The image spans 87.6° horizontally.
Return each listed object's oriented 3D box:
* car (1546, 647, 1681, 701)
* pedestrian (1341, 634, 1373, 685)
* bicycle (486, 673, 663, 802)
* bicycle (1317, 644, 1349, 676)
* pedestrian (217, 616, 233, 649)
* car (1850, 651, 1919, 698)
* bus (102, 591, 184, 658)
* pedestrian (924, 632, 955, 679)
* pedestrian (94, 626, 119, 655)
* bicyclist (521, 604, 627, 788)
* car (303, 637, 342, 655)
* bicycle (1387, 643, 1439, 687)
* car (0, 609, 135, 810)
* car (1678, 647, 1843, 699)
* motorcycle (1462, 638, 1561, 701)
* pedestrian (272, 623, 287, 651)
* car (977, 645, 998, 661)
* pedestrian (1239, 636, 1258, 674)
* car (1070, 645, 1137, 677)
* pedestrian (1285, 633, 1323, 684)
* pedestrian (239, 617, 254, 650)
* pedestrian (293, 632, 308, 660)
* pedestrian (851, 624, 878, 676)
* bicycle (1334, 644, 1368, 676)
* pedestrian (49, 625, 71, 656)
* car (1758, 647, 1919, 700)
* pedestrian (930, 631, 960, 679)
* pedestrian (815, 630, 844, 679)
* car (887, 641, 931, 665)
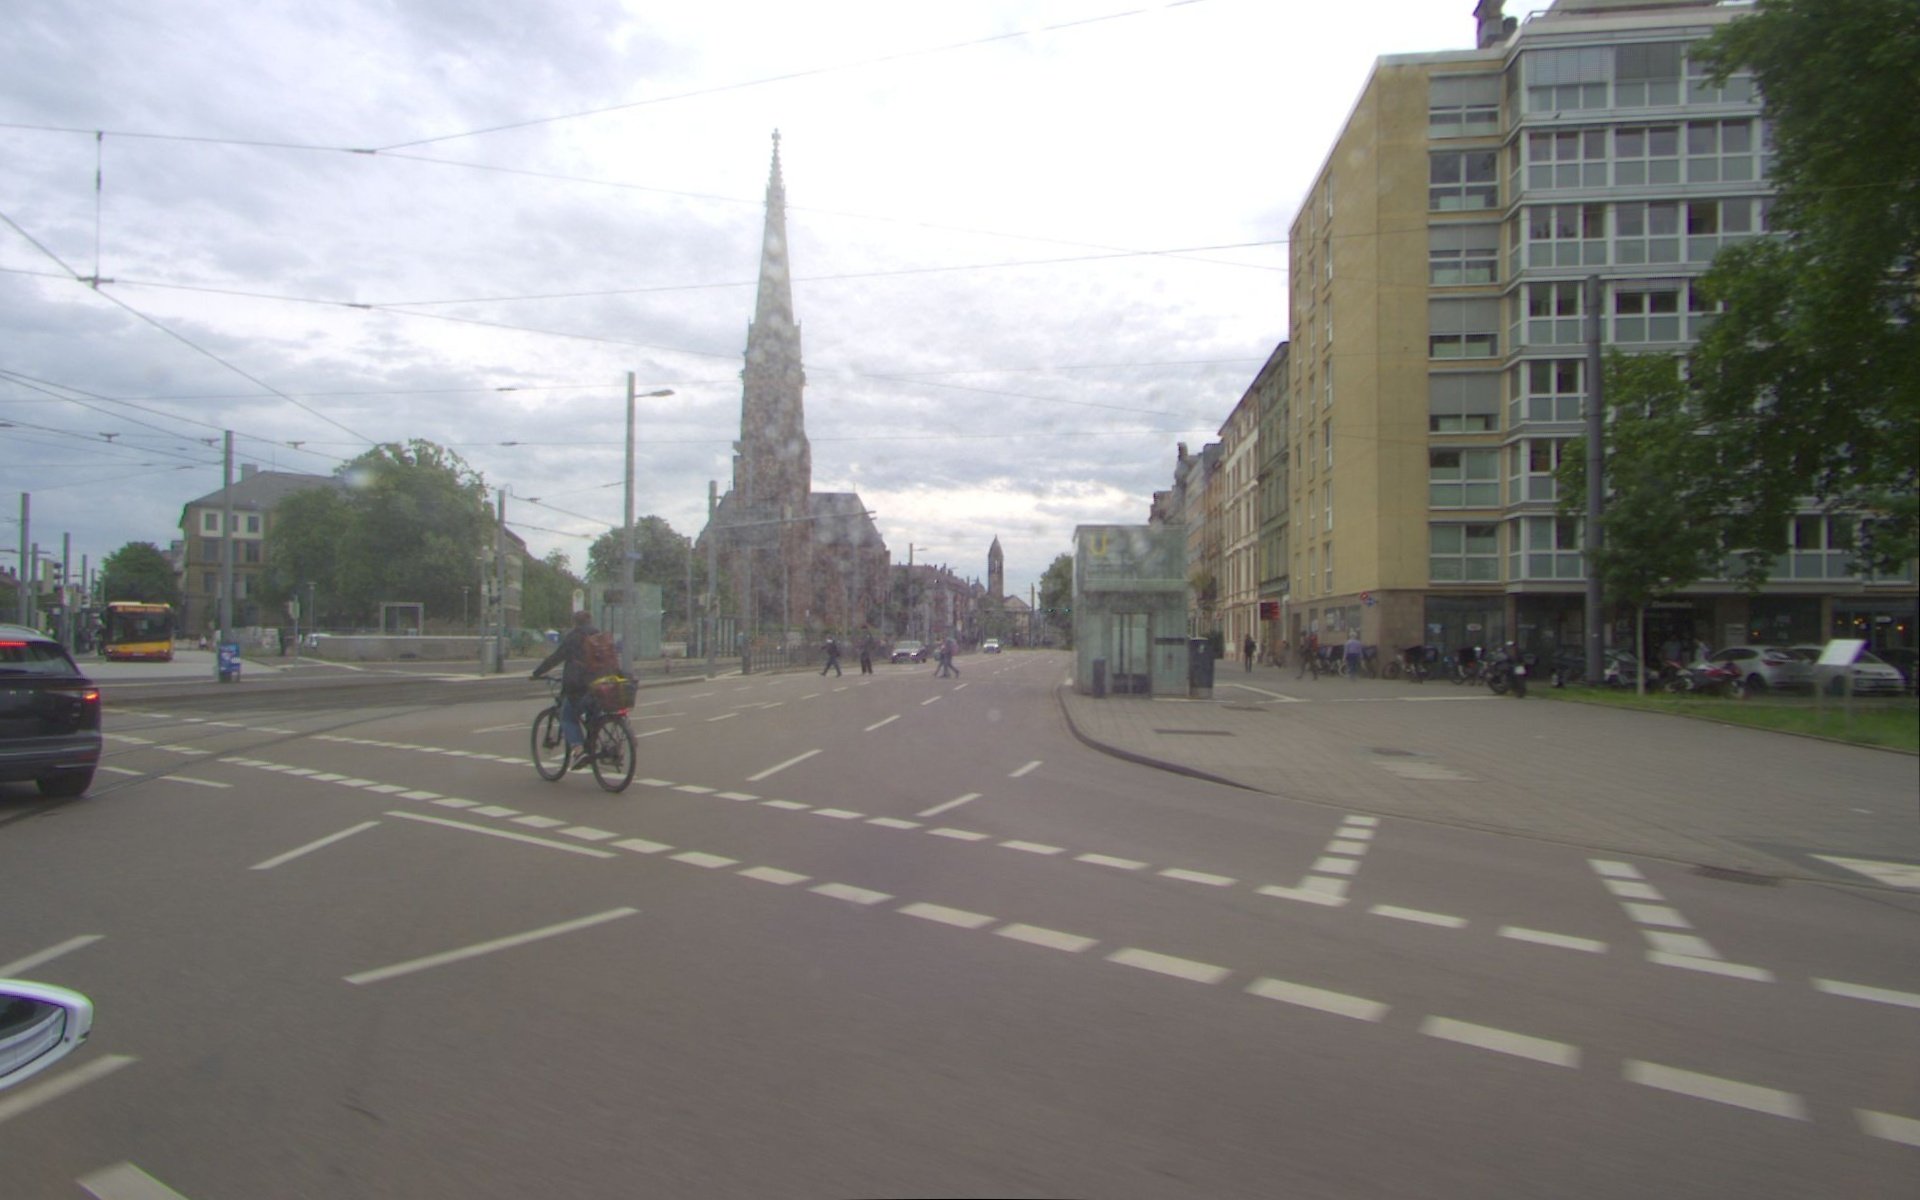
[{"bbox_3d":[20.161,2.230,31.119,1.806,1.461,4.167,0,-1,6],"label":"car"},{"bbox_3d":[13.779,2.051,34.800,0.797,1.759,0.907,0,-1,5],"label":"pedestrian"},{"bbox_3d":[-3.819,1.290,9.838,2.099,1.068,0.623,-1,-2,38],"label":"bicycle"},{"bbox_3d":[14.641,2.330,39.357,0.657,1.184,2.041,1,-1,4],"label":"bicycle"},{"bbox_3d":[-95.897,4.291,130.619,1.332,4.307,1.380,-1,-2,42],"label":"pedestrian"},{"bbox_3d":[29.805,2.292,30.495,1.801,1.352,4.001,0,-1,-2],"label":"car"},{"bbox_3d":[-44.966,1.440,55.402,2.991,3.309,12.946,2,-3,-37],"label":"bus"},{"bbox_3d":[-0.727,1.970,35.689,0.934,1.632,0.768,1,-2,-16],"label":"pedestrian"},{"bbox_3d":[-50.862,2.416,59.669,0.995,1.666,1.014,1,-2,-34],"label":"pedestrian"},{"bbox_3d":[-3.786,0.907,9.823,0.795,1.712,0.613,0,-1,38],"label":"bicyclist"},{"bbox_3d":[-58.326,4.198,91.556,3.954,1.682,1.901,-2,-3,40],"label":"car"},{"bbox_3d":[15.087,2.128,33.460,0.886,1.395,2.784,0,-2,9],"label":"bicycle"},{"bbox_3d":[-9.949,0.944,9.504,4.449,1.679,1.901,-1,-2,31],"label":"car"},{"bbox_3d":[24.936,2.244,31.407,1.961,1.482,4.002,1,-2,0],"label":"car"},{"bbox_3d":[13.007,1.606,23.733,1.026,1.384,2.293,-1,-1,-1],"label":"motorcycle"},{"bbox_3d":[-45.168,2.468,66.428,0.816,1.831,1.015,0,-2,-34],"label":"pedestrian"},{"bbox_3d":[3.285,6.295,119.370,1.962,1.772,4.001,0,-2,10],"label":"car"},{"bbox_3d":[13.454,2.557,46.724,0.605,1.737,0.824,0,-1,-4],"label":"pedestrian"},{"bbox_3d":[7.628,3.223,53.150,1.718,1.607,3.707,-2,-3,43],"label":"car"},{"bbox_3d":[12.254,2.064,35.688,1.030,1.779,0.787,0,-1,-14],"label":"pedestrian"},{"bbox_3d":[-94.469,4.410,132.561,1.331,4.307,1.301,-1,-2,40],"label":"pedestrian"},{"bbox_3d":[-44.333,3.104,67.298,0.816,1.877,1.014,1,-2,-34],"label":"pedestrian"},{"bbox_3d":[-3.595,1.871,37.561,0.888,1.936,0.783,1,-2,-16],"label":"pedestrian"},{"bbox_3d":[15.318,2.335,39.266,0.657,1.184,2.041,1,-1,4],"label":"bicycle"},{"bbox_3d":[-53.888,2.405,59.970,0.816,1.831,1.014,1,-2,-34],"label":"pedestrian"},{"bbox_3d":[27.588,2.243,31.342,1.961,1.460,4.001,0,-1,-2],"label":"car"},{"bbox_3d":[-0.519,1.914,34.958,0.881,1.622,0.783,1,-2,-16],"label":"pedestrian"},{"bbox_3d":[-4.529,1.878,34.622,0.888,1.664,0.783,1,-2,-16],"label":"pedestrian"},{"bbox_3d":[-3.266,3.426,65.108,1.962,1.504,4.446,0,-2,10],"label":"car"}]
